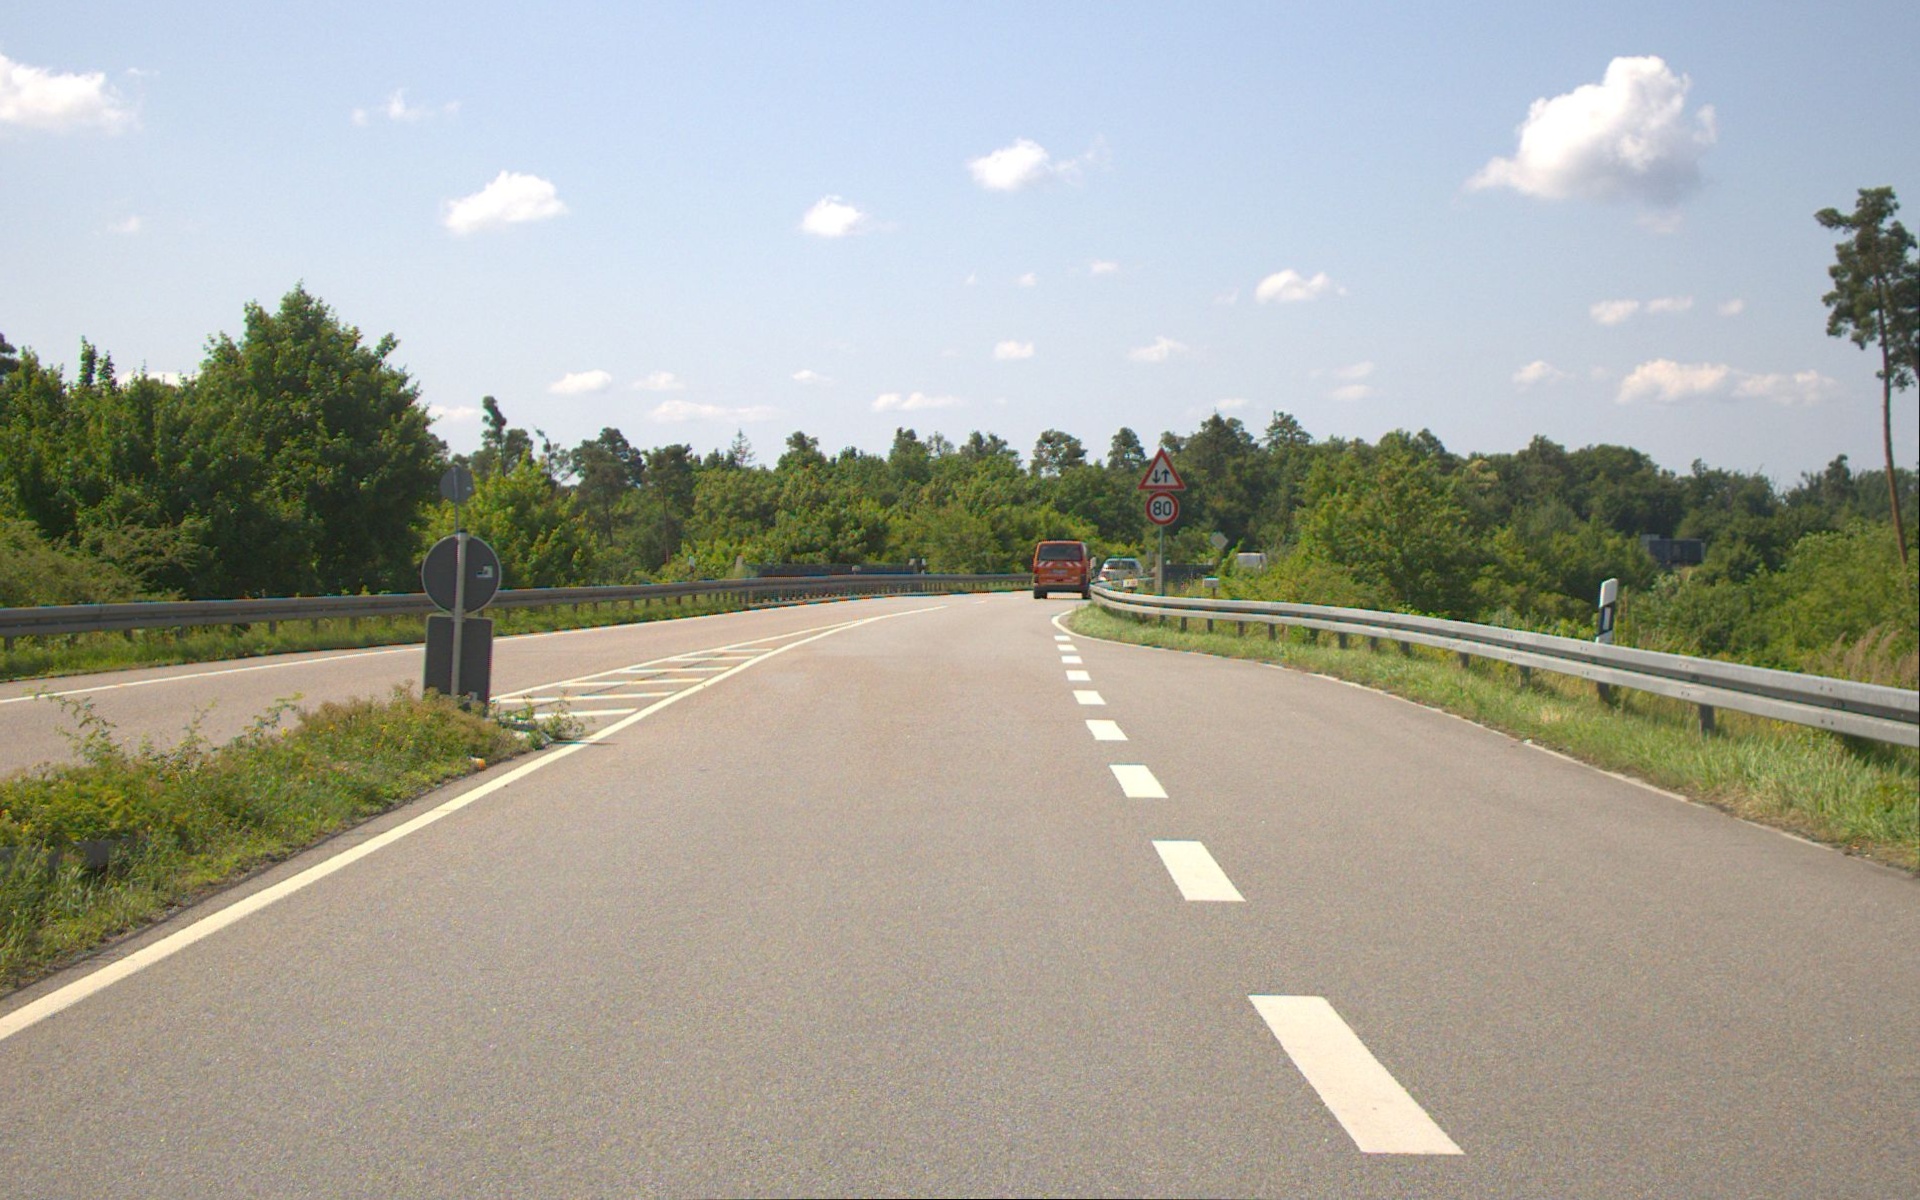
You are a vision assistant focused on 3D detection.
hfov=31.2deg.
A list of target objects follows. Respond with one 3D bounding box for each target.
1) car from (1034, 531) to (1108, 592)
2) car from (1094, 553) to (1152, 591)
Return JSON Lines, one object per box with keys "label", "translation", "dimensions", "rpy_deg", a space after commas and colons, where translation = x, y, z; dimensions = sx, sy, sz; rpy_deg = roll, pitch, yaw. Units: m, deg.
{"label": "car", "translation": [3.779, -1.278, 116.588], "dimensions": [2.078, 1.986, 5.110], "rpy_deg": [1, 0, 6]}
{"label": "car", "translation": [6.563, -1.110, 138.214], "dimensions": [2.008, 1.489, 4.237], "rpy_deg": [1, 0, 7]}
